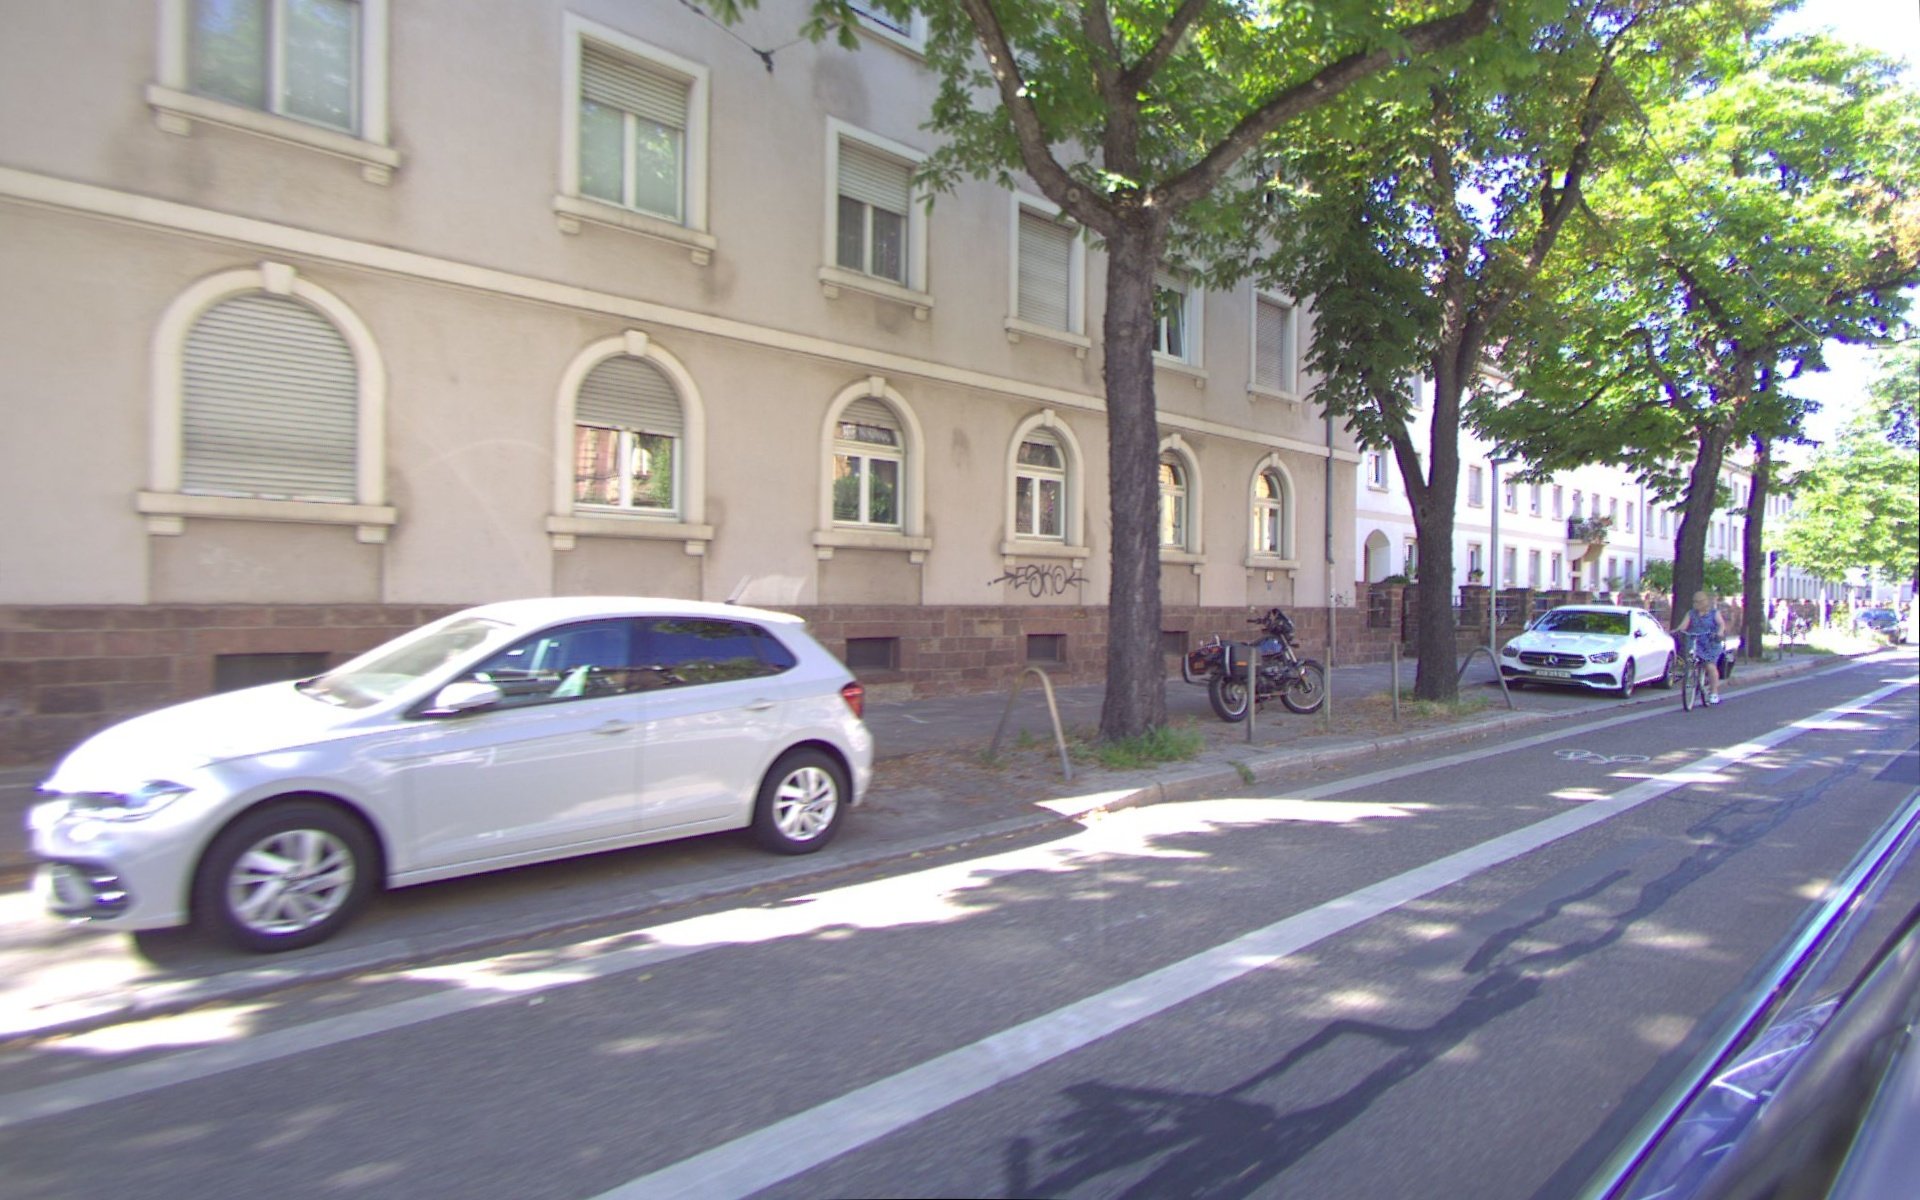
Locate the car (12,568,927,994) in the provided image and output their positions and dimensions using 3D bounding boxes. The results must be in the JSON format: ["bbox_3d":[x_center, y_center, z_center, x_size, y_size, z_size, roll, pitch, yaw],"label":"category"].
[{"bbox_3d":[-2.334,0.623,5.592,4.140,1.490,1.704,0,2,-41],"label":"car"}]

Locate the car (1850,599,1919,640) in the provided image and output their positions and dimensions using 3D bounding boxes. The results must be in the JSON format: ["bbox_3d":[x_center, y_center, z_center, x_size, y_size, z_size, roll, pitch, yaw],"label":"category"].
[{"bbox_3d":[36.551,0.732,39.909,4.537,1.485,1.758,0,2,-44],"label":"car"}]

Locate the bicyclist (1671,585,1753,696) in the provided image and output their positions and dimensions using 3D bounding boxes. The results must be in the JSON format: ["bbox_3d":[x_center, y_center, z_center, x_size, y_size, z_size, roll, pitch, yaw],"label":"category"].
[{"bbox_3d":[10.929,0.560,14.694,1.209,1.533,0.775,0,0,-44],"label":"bicyclist"}]

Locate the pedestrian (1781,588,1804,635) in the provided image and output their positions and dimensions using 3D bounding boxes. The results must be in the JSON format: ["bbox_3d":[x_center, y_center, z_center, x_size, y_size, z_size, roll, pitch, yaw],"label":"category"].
[{"bbox_3d":[36.448,0.485,44.296,0.740,2.039,0.678,1,0,41],"label":"pedestrian"}]

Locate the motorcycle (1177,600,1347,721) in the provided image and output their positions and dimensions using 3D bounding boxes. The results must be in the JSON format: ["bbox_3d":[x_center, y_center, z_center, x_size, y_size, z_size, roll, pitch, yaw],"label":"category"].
[{"bbox_3d":[3.553,0.646,11.794,2.221,1.266,0.763,0,1,-39],"label":"motorcycle"}]

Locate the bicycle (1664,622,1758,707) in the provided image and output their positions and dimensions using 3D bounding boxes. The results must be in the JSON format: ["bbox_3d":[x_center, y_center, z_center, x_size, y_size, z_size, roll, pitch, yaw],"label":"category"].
[{"bbox_3d":[10.920,0.891,14.691,2.024,1.100,0.775,0,0,-44],"label":"bicycle"}]

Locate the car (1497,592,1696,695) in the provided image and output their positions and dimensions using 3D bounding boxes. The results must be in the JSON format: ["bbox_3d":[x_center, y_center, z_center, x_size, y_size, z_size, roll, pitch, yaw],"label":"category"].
[{"bbox_3d":[11.127,0.652,17.546,4.670,1.502,1.821,0,2,-44],"label":"car"}]
